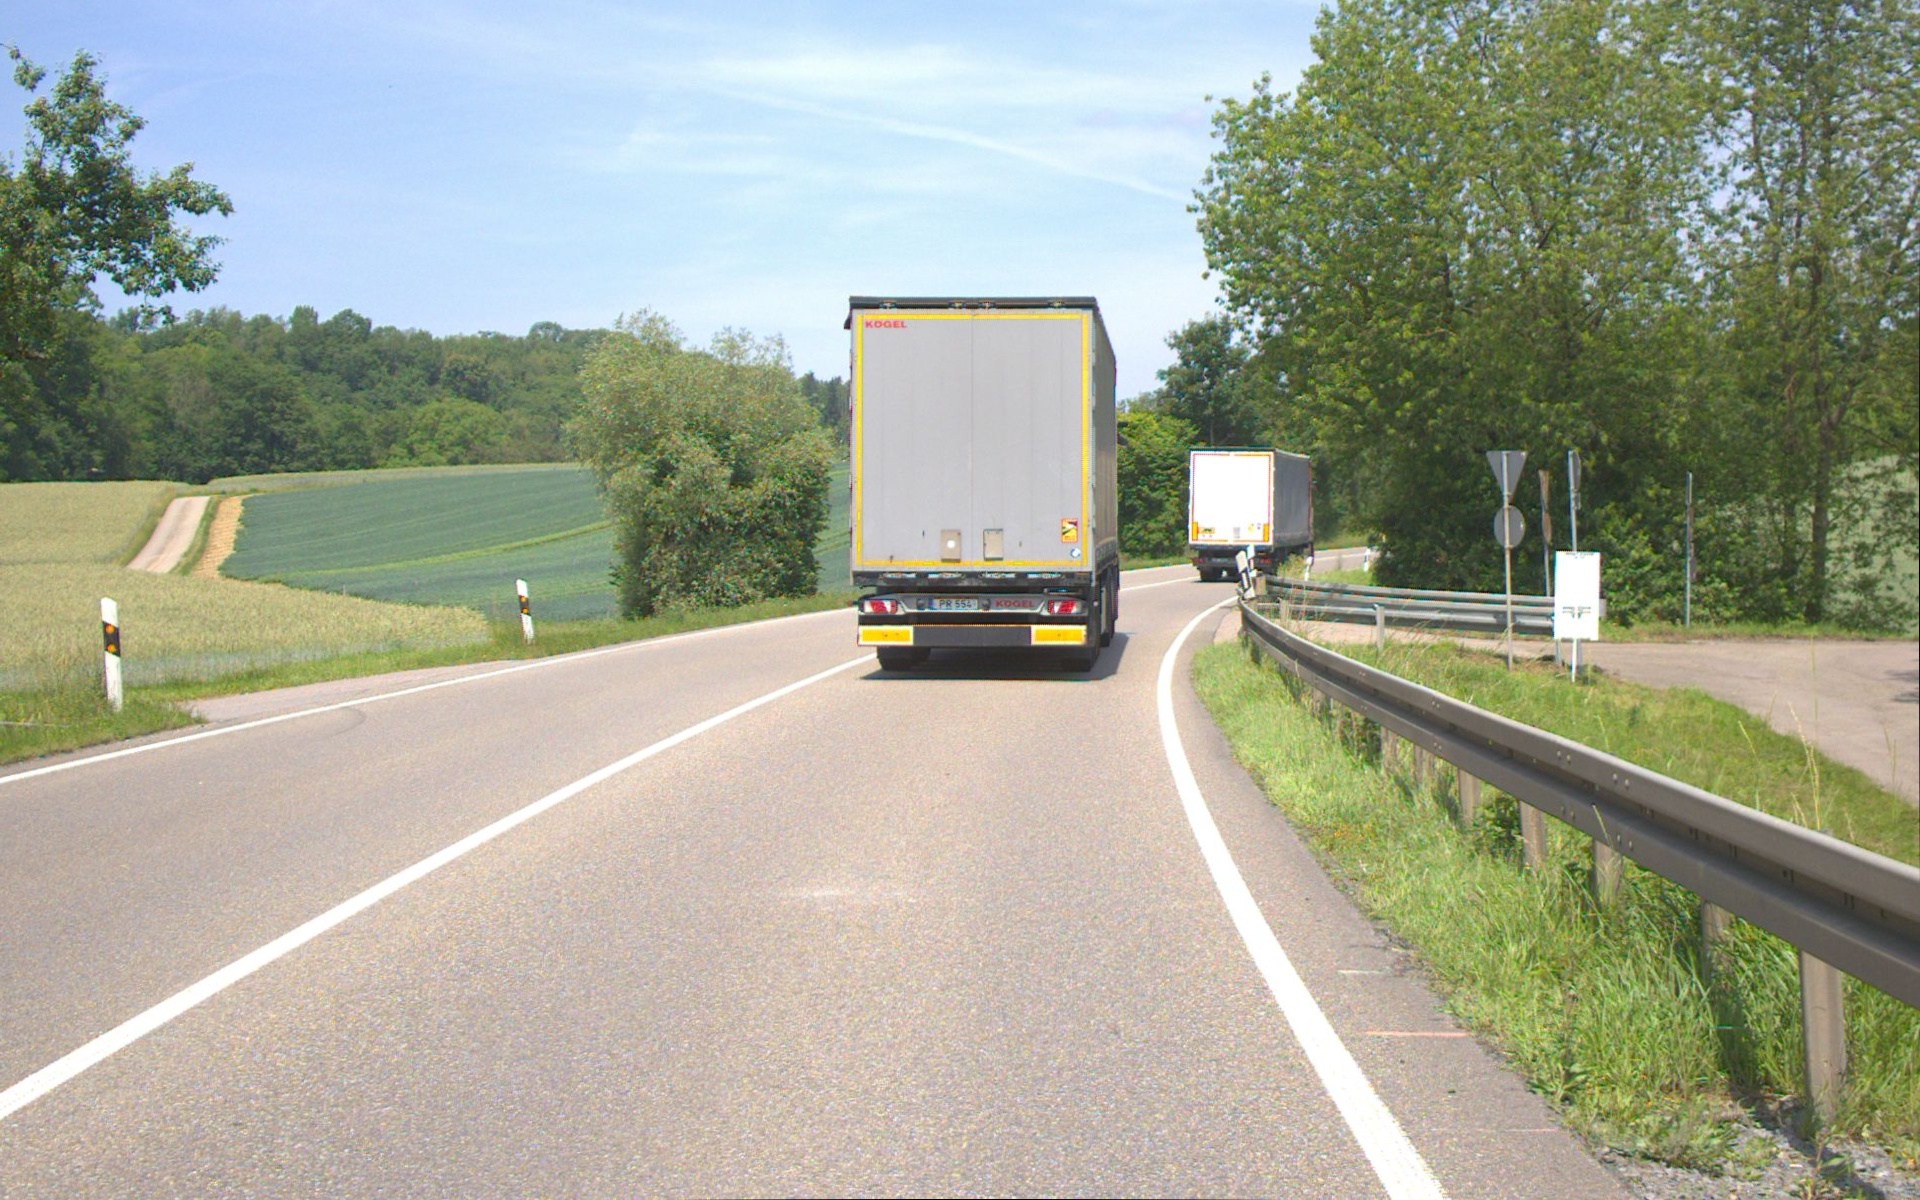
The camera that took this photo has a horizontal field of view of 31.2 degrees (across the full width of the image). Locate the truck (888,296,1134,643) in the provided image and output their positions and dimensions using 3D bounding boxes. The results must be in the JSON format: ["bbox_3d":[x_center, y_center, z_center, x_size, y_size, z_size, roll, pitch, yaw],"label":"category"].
[{"bbox_3d":[0.832,-1.752,47.866,3.118,4.479,6.810,0,1,3],"label":"truck"}]

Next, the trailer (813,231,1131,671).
[{"bbox_3d":[0.469,-1.661,42.058,3.118,4.484,13.885,0,1,3],"label":"trailer"}]

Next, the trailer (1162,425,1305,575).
[{"bbox_3d":[8.802,-3.014,108.802,3.366,4.302,13.858,0,0,9],"label":"trailer"}]
